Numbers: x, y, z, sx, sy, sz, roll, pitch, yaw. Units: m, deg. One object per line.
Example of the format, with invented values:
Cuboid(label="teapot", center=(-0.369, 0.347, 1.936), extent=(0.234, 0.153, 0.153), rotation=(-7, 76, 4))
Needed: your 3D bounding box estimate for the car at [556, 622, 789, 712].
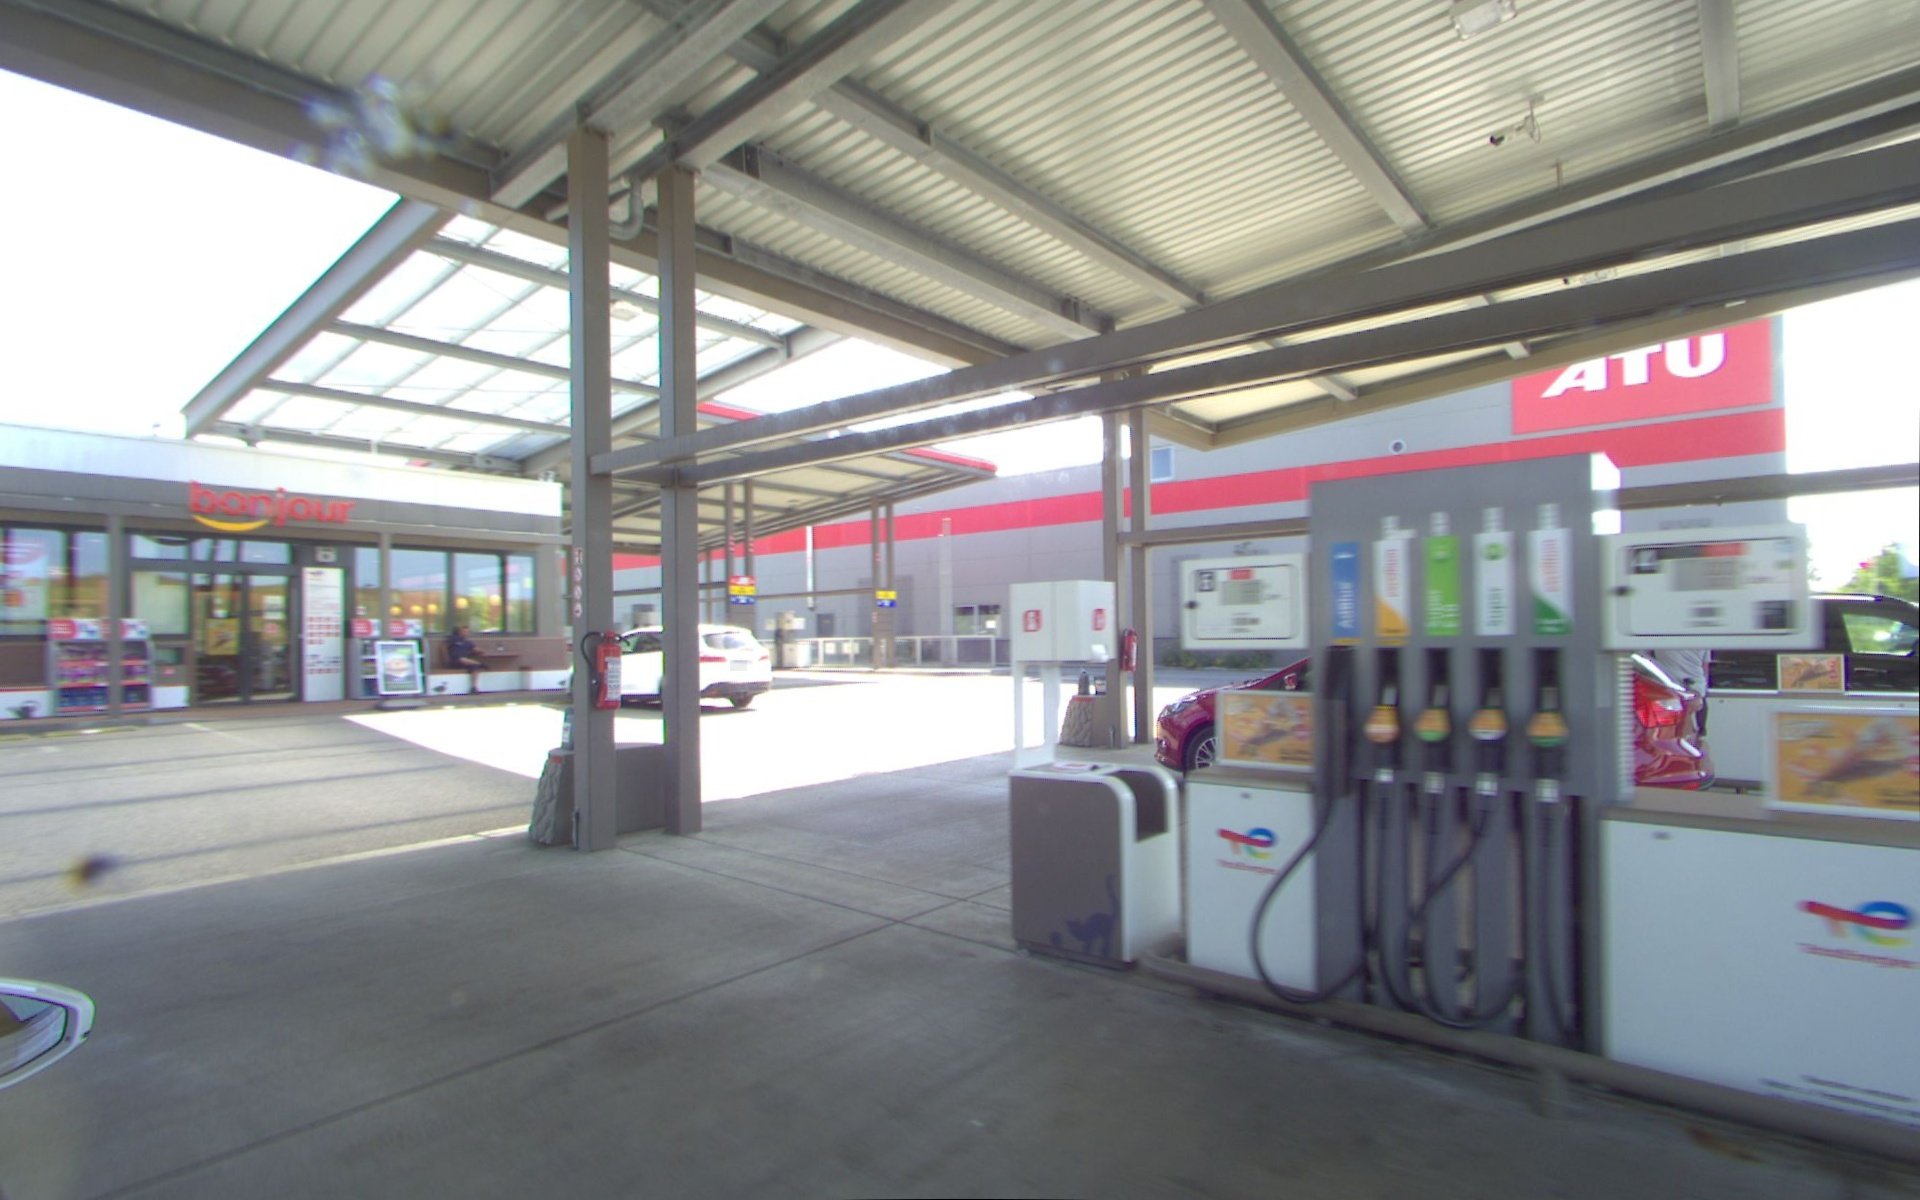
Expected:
Cuboid(label="car", center=(-5.347, 1.161, 18.476), extent=(4.261, 1.475, 1.826), rotation=(-1, -1, 33))

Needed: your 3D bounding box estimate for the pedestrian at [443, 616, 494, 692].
Cuboid(label="pedestrian", center=(-9.685, 1.054, 19.727), extent=(0.664, 1.450, 0.698), rotation=(-1, -1, 38))

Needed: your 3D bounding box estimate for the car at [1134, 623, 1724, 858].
Cuboid(label="car", center=(3.706, 0.948, 8.335), extent=(4.182, 1.488, 1.692), rotation=(-1, -2, 39))

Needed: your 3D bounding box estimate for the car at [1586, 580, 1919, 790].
Cuboid(label="car", center=(9.043, 0.770, 9.809), extent=(4.739, 1.875, 2.019), rotation=(0, 0, 39))

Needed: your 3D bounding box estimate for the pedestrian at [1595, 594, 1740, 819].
Cuboid(label="pedestrian", center=(5.813, 0.828, 8.229), extent=(0.917, 1.725, 0.698), rotation=(-1, -1, 40))
